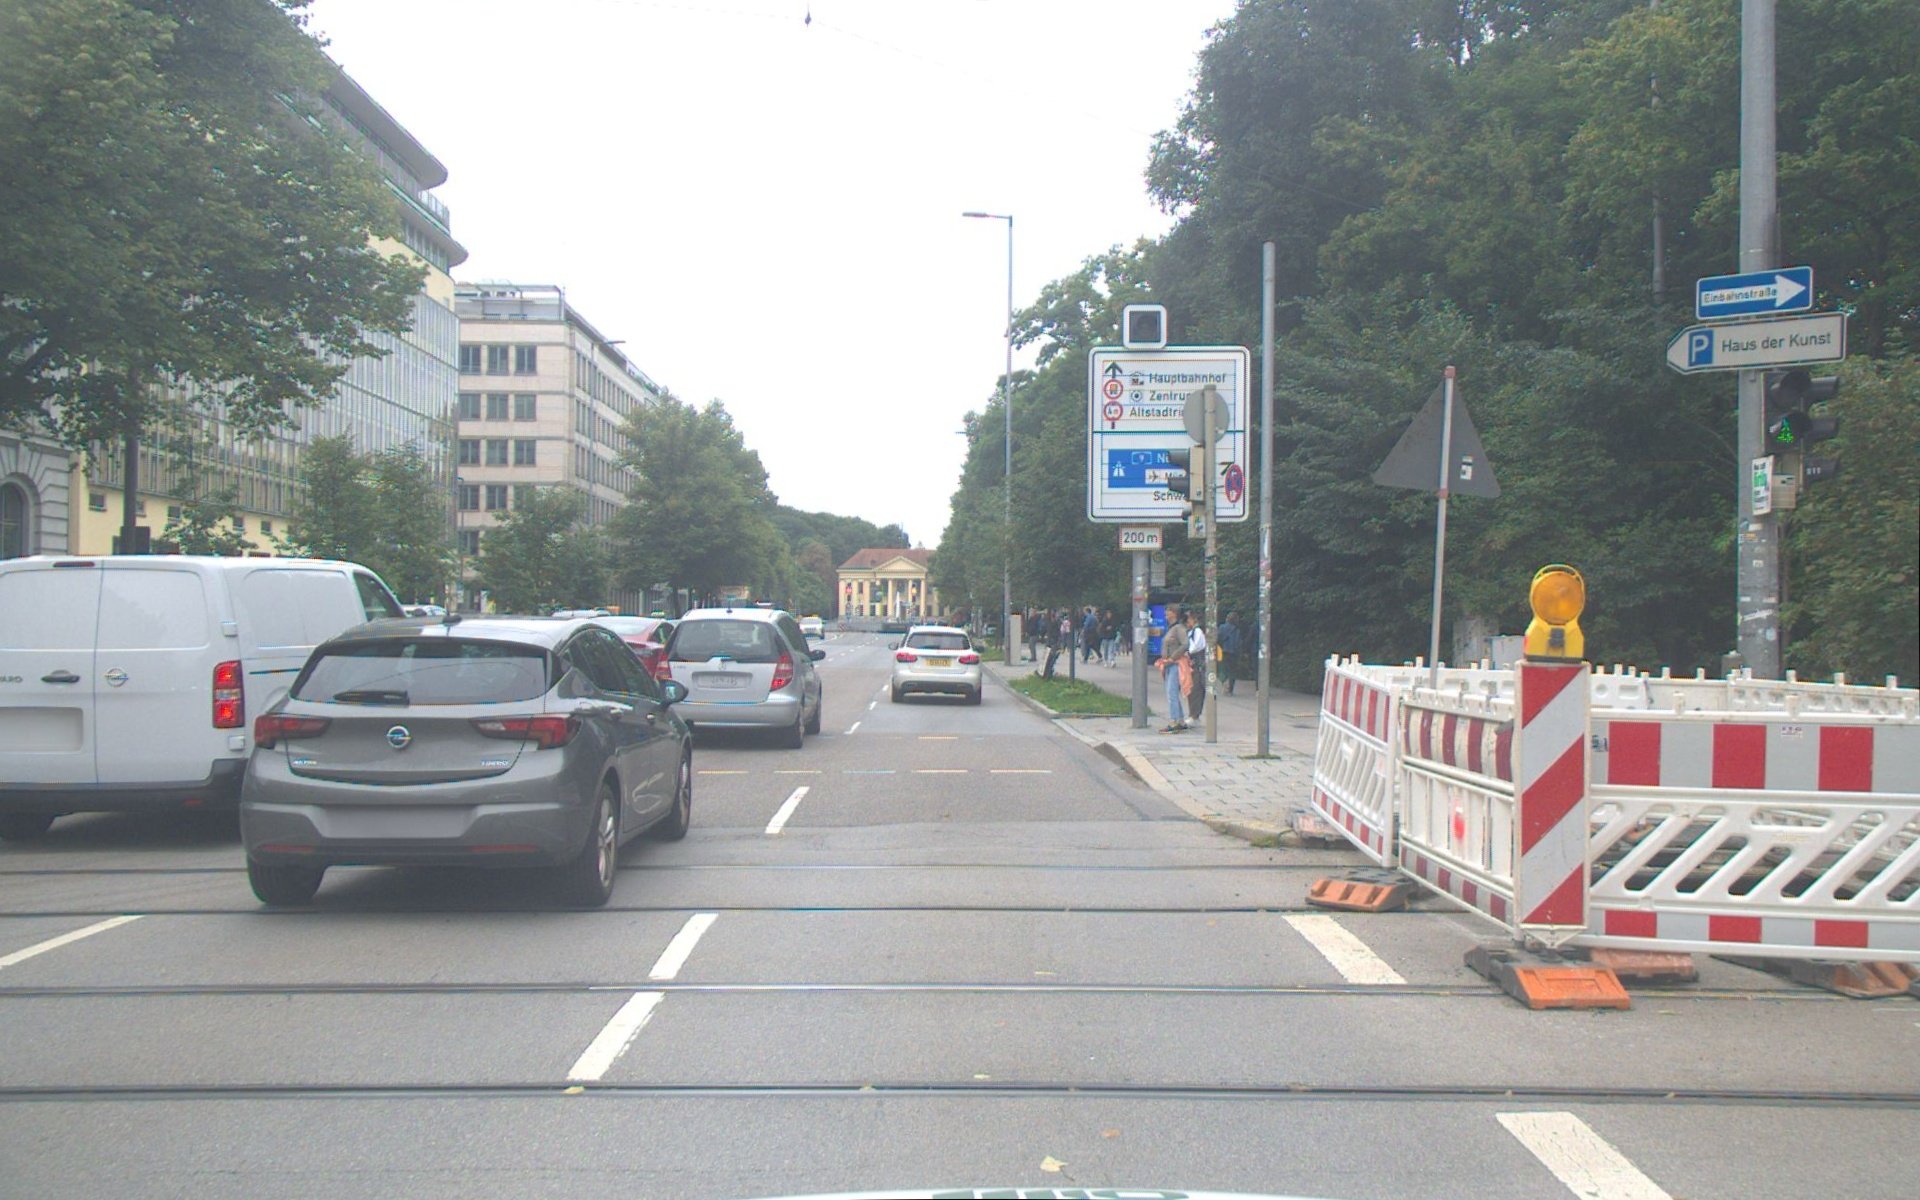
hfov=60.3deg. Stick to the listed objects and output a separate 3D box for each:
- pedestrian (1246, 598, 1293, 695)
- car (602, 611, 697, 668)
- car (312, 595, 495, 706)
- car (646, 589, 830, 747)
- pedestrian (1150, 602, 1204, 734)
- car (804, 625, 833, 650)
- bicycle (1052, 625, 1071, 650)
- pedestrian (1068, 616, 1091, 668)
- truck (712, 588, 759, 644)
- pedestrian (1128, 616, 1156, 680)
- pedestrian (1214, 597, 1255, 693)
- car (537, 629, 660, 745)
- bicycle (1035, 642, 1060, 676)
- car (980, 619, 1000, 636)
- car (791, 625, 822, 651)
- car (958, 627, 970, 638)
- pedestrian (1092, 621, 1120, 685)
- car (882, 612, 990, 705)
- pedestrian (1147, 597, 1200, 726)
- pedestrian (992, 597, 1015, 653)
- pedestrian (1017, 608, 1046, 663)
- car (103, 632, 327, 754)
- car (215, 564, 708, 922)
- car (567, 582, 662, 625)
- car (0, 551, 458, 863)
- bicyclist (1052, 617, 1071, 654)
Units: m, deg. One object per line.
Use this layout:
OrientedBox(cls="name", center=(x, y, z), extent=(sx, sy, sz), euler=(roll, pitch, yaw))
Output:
OrientedBox(cls="pedestrian", center=(6.109, 0.911, 32.702), extent=(0.735, 1.871, 0.756), euler=(2, -1, 0))
OrientedBox(cls="car", center=(-8.504, 1.081, 45.658), extent=(1.731, 1.448, 4.746), euler=(-1, -1, -1))
OrientedBox(cls="car", center=(-8.691, 0.769, 26.157), extent=(1.601, 1.599, 3.944), euler=(1, -1, -1))
OrientedBox(cls="car", center=(-2.595, 0.787, 20.168), extent=(1.743, 1.683, 3.998), euler=(2, -1, -2))
OrientedBox(cls="pedestrian", center=(2.986, 0.929, 22.752), extent=(0.597, 1.792, 0.635), euler=(1, -1, -6))
OrientedBox(cls="car", center=(-10.296, 2.736, 120.423), extent=(1.783, 1.758, 3.880), euler=(2, -1, -1))
OrientedBox(cls="bicycle", center=(4.430, 1.654, 72.339), extent=(0.661, 1.048, 2.012), euler=(2, -1, -1))
OrientedBox(cls="pedestrian", center=(4.374, 1.535, 60.494), extent=(0.693, 1.840, 0.950), euler=(2, -1, -1))
OrientedBox(cls="truck", center=(-16.202, 1.219, 119.951), extent=(2.859, 3.841, 7.656), euler=(2, -1, -5))
OrientedBox(cls="pedestrian", center=(5.679, 1.491, 51.543), extent=(0.693, 1.949, 0.956), euler=(2, -1, -1))
OrientedBox(cls="pedestrian", center=(5.465, 0.892, 32.908), extent=(0.657, 1.871, 0.641), euler=(2, -1, 0))
OrientedBox(cls="car", center=(-5.936, 1.356, 26.935), extent=(1.749, 1.683, 3.985), euler=(2, -1, -14))
OrientedBox(cls="bicycle", center=(2.194, 1.482, 41.613), extent=(0.483, 0.808, 1.889), euler=(2, -1, -1))
OrientedBox(cls="car", center=(2.751, 2.540, 153.936), extent=(1.790, 1.577, 4.750), euler=(0, -1, 0))
OrientedBox(cls="car", center=(-10.826, 2.687, 117.081), extent=(1.819, 1.779, 4.628), euler=(-1, -1, -1))
OrientedBox(cls="car", center=(0.559, 4.710, 238.374), extent=(1.689, 1.347, 4.028), euler=(1, 1, 0))
OrientedBox(cls="pedestrian", center=(4.560, 1.650, 51.730), extent=(0.693, 1.949, 0.956), euler=(2, -1, -1))
OrientedBox(cls="car", center=(-0.536, 1.132, 32.922), extent=(1.745, 1.673, 3.994), euler=(2, -1, -6))
OrientedBox(cls="pedestrian", center=(3.024, 0.866, 23.444), extent=(0.612, 1.792, 0.635), euler=(2, -2, -2))
OrientedBox(cls="pedestrian", center=(1.458, 0.845, 55.990), extent=(0.693, 1.840, 0.638), euler=(2, -1, -1))
OrientedBox(cls="pedestrian", center=(2.546, 1.255, 58.775), extent=(0.789, 1.914, 0.542), euler=(1, -2, 35))
OrientedBox(cls="car", center=(-11.138, 1.331, 25.018), extent=(1.709, 1.624, 3.997), euler=(-1, -1, -3))
OrientedBox(cls="car", center=(-2.581, 0.696, 9.579), extent=(1.676, 1.579, 3.998), euler=(2, -1, -2))
OrientedBox(cls="car", center=(-21.688, 0.223, 104.113), extent=(5.570, 2.581, 2.154), euler=(1, -1, -5))
OrientedBox(cls="car", center=(-5.450, 0.712, 12.543), extent=(1.860, 1.880, 4.953), euler=(1, -1, -2))
OrientedBox(cls="bicyclist", center=(4.441, 1.538, 72.431), extent=(0.693, 1.589, 0.638), euler=(2, -1, -1))
